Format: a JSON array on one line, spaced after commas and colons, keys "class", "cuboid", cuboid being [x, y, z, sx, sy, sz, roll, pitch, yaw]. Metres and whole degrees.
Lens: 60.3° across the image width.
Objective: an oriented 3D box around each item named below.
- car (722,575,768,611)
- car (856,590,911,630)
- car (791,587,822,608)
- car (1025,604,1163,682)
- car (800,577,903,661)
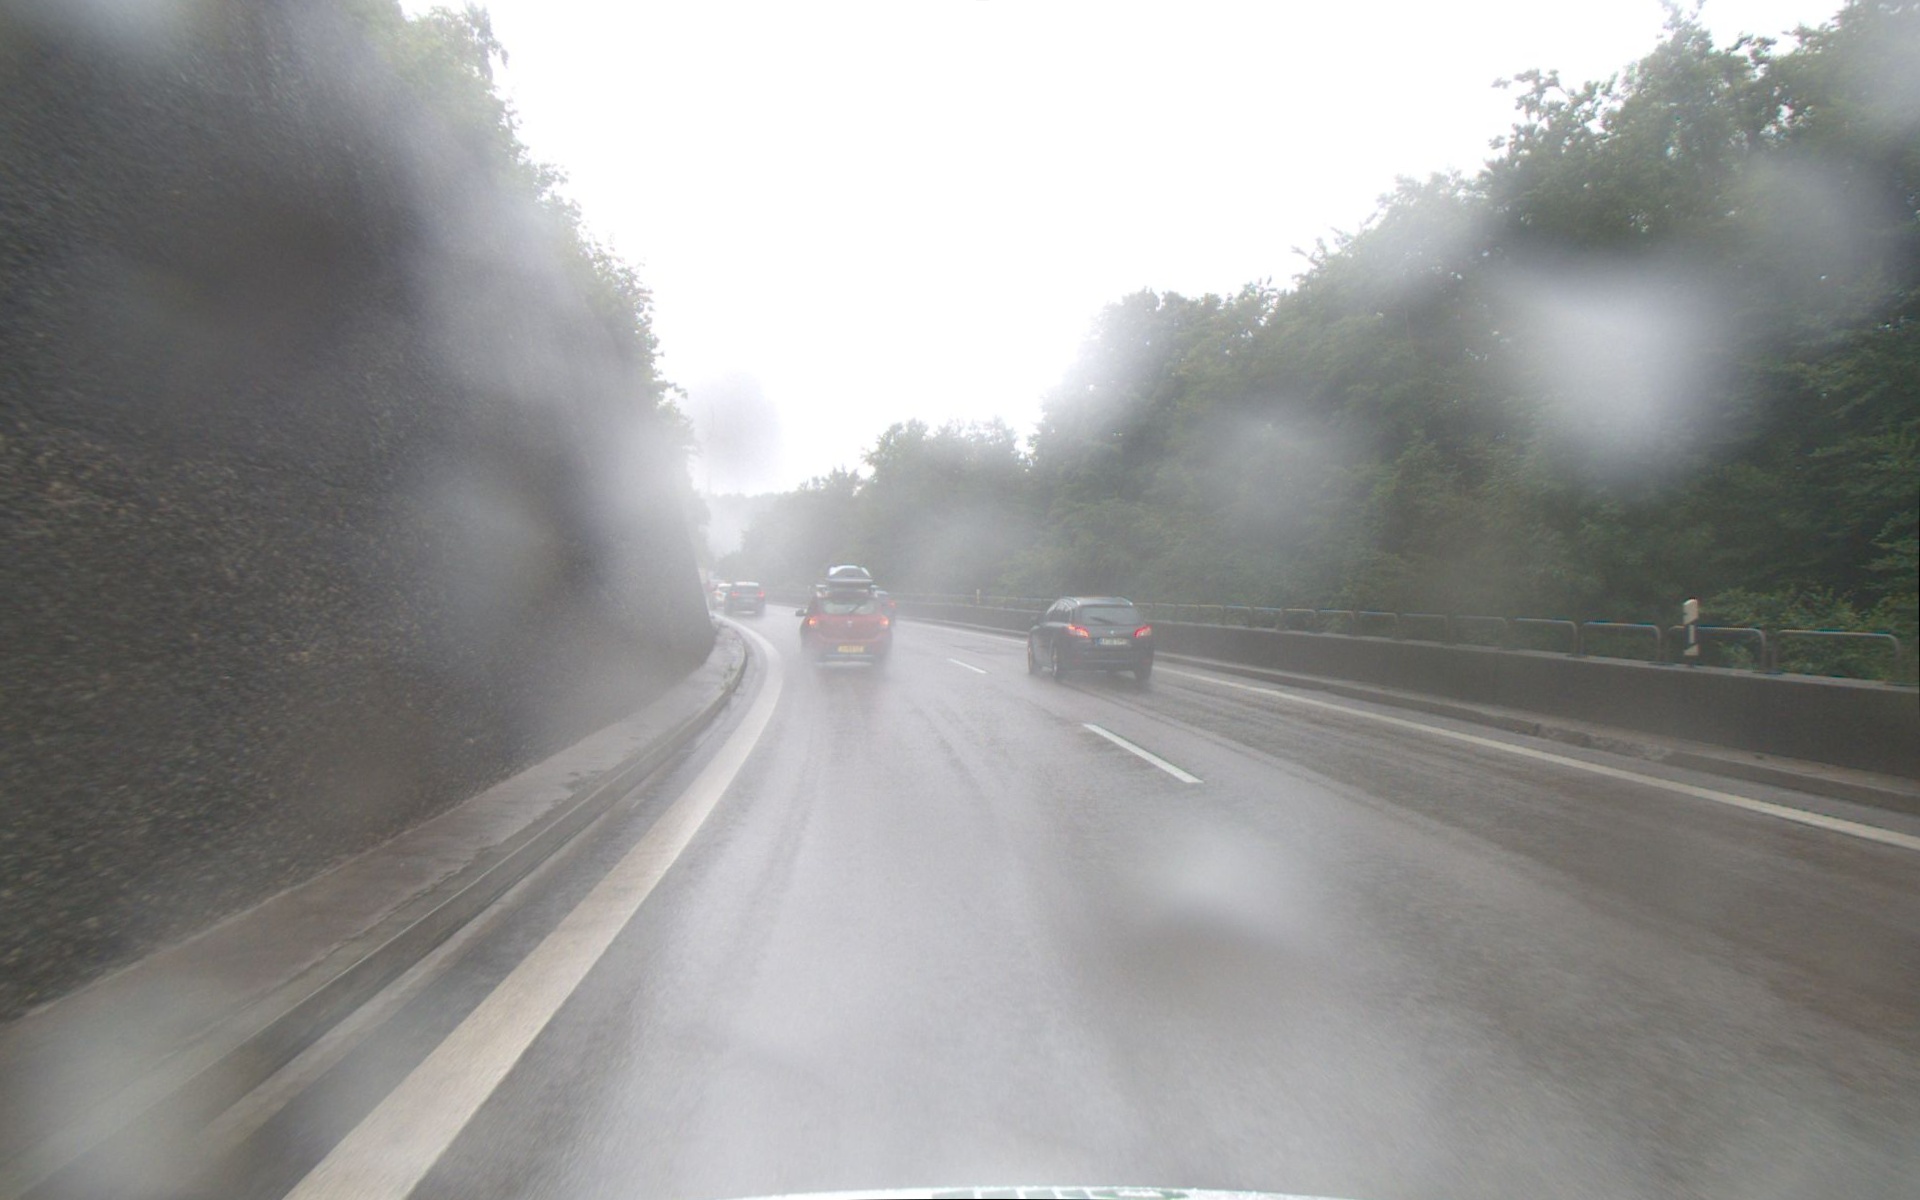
[{"class": "car", "cuboid": [-10.897, -0.349, 83.710, 1.959, 1.713, 3.987, 1, -1, -13]}, {"class": "car", "cuboid": [-3.273, 0.397, 70.152, 1.956, 1.579, 3.993, 1, 1, -8]}, {"class": "car", "cuboid": [-10.984, -0.175, 117.914, 1.768, 1.492, 3.989, 1, 0, -11]}, {"class": "car", "cuboid": [2.395, 0.749, 30.473, 1.766, 1.330, 3.994, 1, 0, -7]}, {"class": "car", "cuboid": [-2.240, 0.378, 33.427, 1.955, 1.579, 3.995, 1, 0, -5]}]
